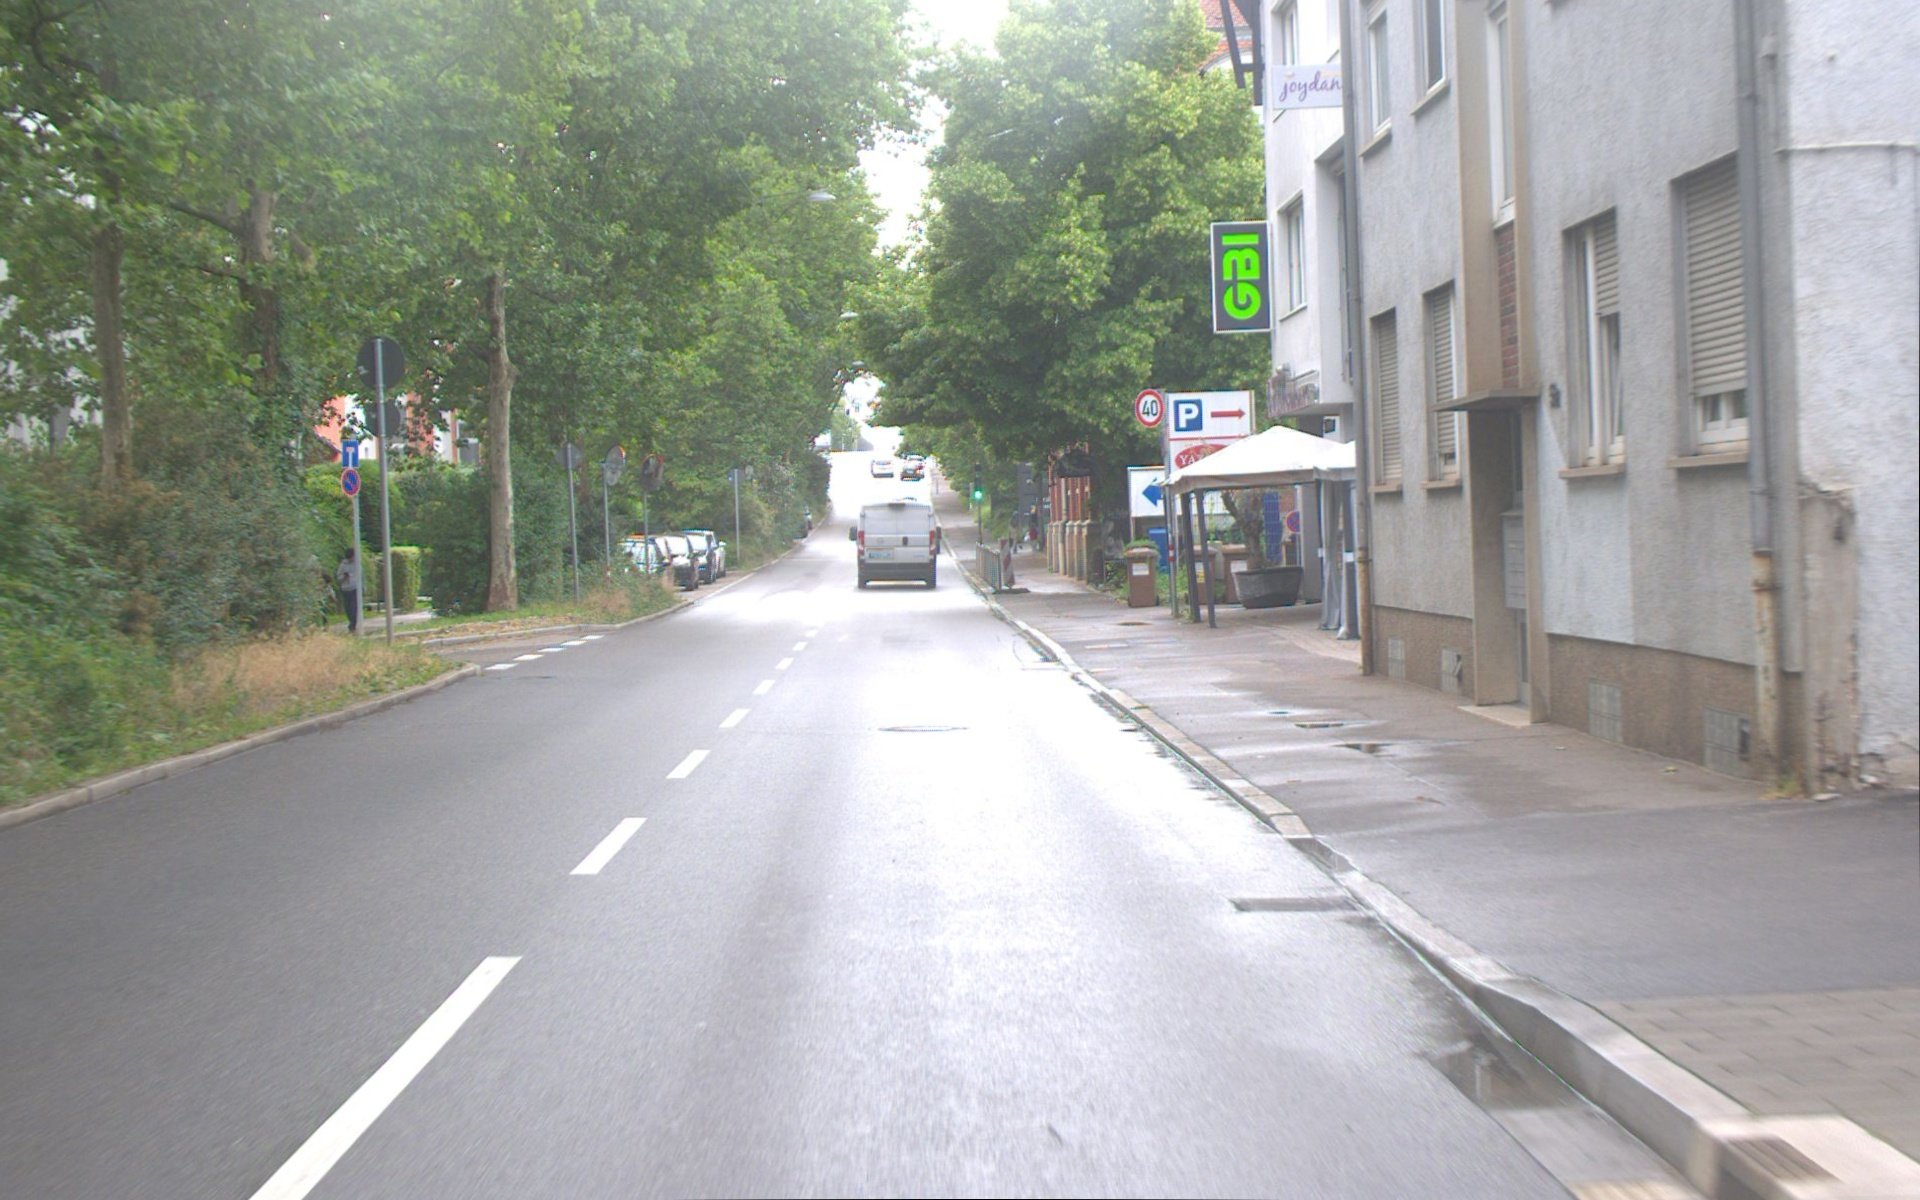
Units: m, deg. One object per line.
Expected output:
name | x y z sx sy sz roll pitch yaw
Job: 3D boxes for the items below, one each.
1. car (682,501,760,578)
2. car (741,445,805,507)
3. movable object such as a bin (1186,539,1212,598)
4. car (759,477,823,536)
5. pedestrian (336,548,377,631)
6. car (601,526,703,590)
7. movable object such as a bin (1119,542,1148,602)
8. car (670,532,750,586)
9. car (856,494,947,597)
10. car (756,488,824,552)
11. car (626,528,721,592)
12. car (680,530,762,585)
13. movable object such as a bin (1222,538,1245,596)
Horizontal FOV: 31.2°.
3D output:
car | -8.107 -2.044 116.892 2.215 2.525 4.609 0 0 1
car | -7.471 -4.943 137.567 2.215 2.286 4.609 0 0 1
movable object such as a bin | 4.377 -0.576 62.899 0.399 1.063 0.358 -1 -1 -7
car | -7.083 -3.906 144.489 2.216 2.286 4.609 0 -1 3
pedestrian | -11.376 -0.197 64.836 0.681 1.565 0.623 0 0 -3
car | -8.205 -1.096 91.958 2.215 1.587 4.609 0 -1 1
movable object such as a bin | 3.173 -0.506 62.882 0.399 1.063 0.358 -5 0 -7
car | -7.652 -1.234 105.555 1.995 1.538 4.609 0 -1 1
car | -1.511 -1.387 89.804 2.282 2.544 4.000 -1 -1 -1
car | -6.380 -2.996 129.678 2.215 2.286 4.609 0 0 1
car | -8.156 -1.121 98.177 2.215 1.723 4.609 0 -1 1
car | -7.724 -1.359 111.599 2.215 1.685 4.609 0 -1 1
movable object such as a bin | 5.007 -0.602 62.929 0.356 1.063 0.358 0 -1 -7
